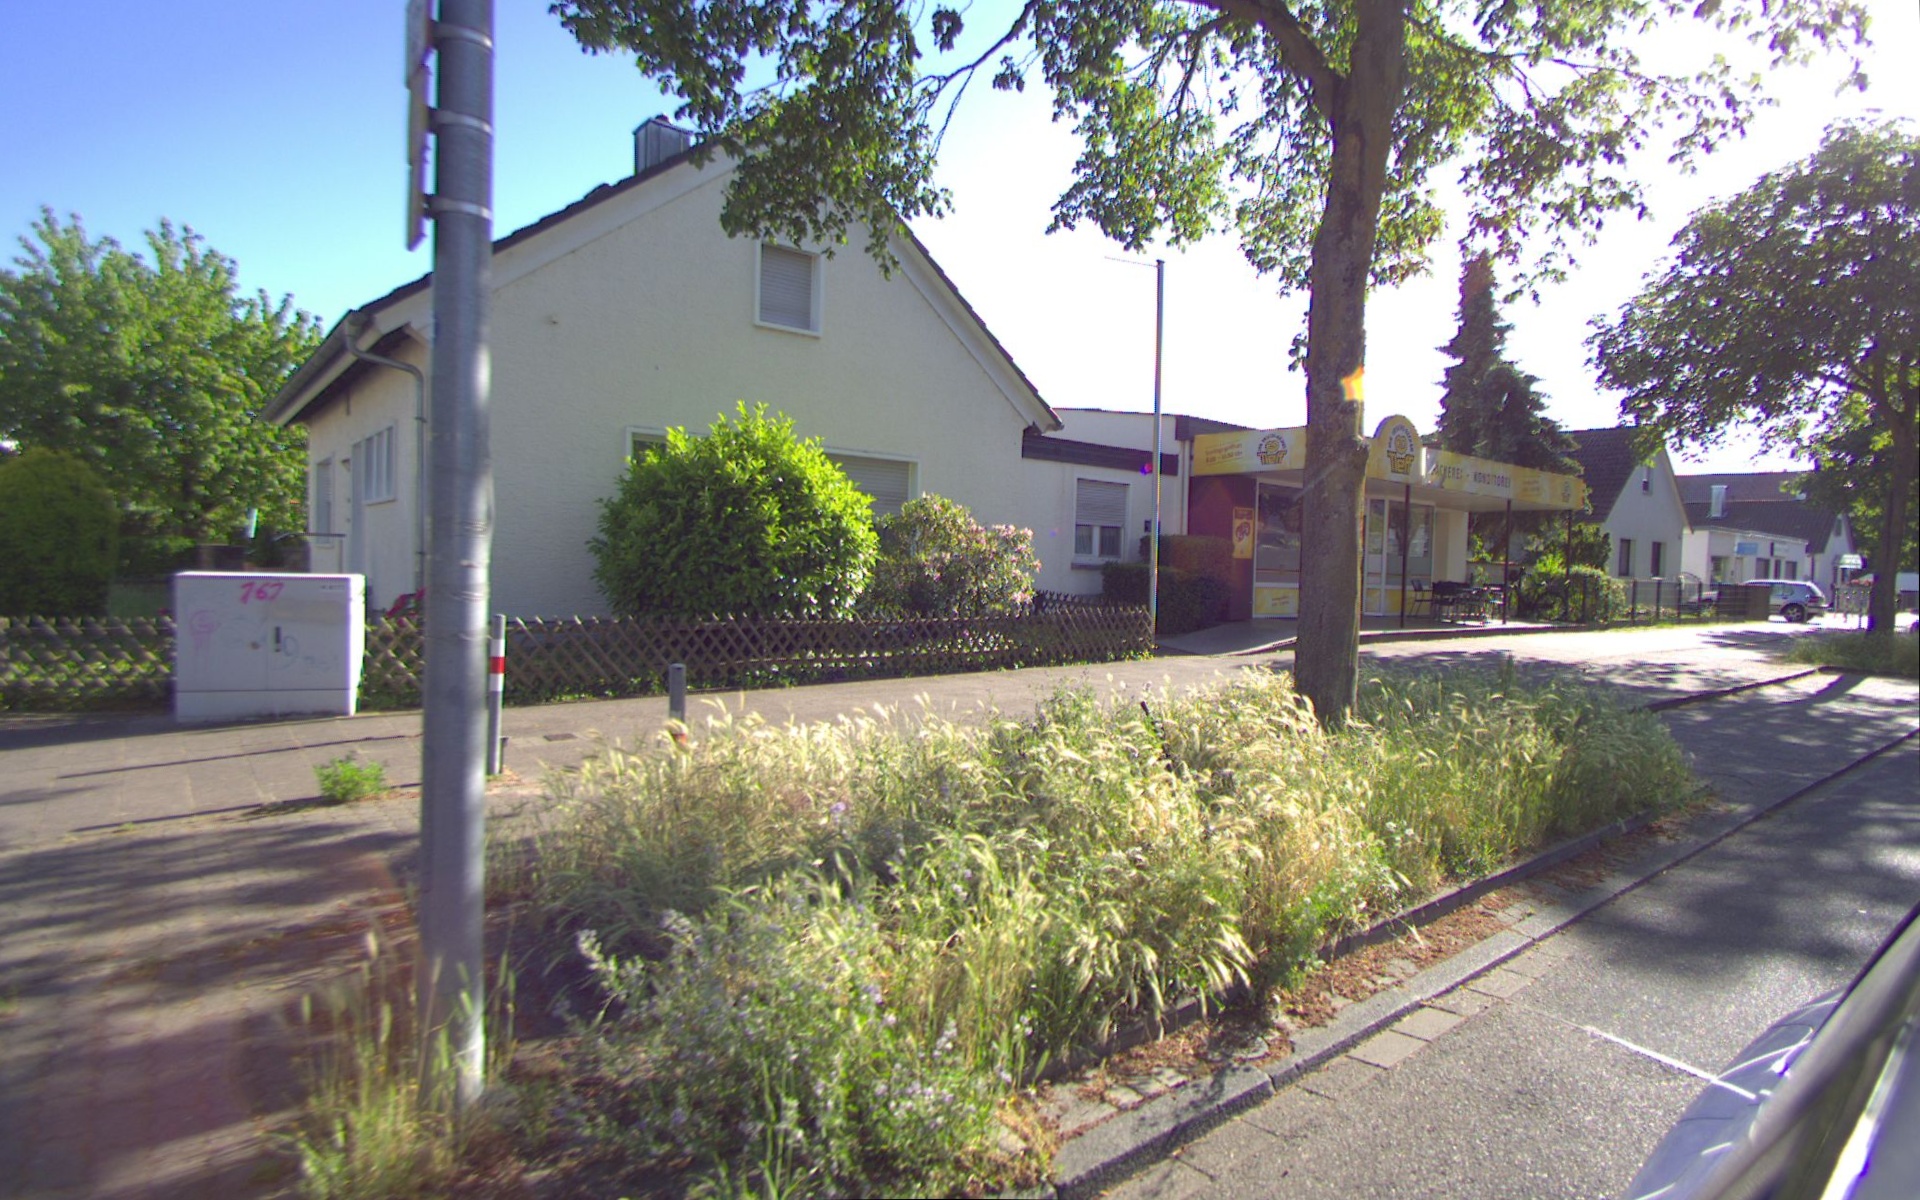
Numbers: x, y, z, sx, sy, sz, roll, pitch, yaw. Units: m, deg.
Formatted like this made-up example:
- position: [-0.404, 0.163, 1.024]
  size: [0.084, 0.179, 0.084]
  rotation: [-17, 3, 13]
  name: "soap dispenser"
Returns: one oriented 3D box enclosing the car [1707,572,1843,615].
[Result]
- position: [29.677, -0.229, 36.918]
  size: [1.667, 1.457, 3.616]
  rotation: [-1, 0, -42]
  name: "car"
